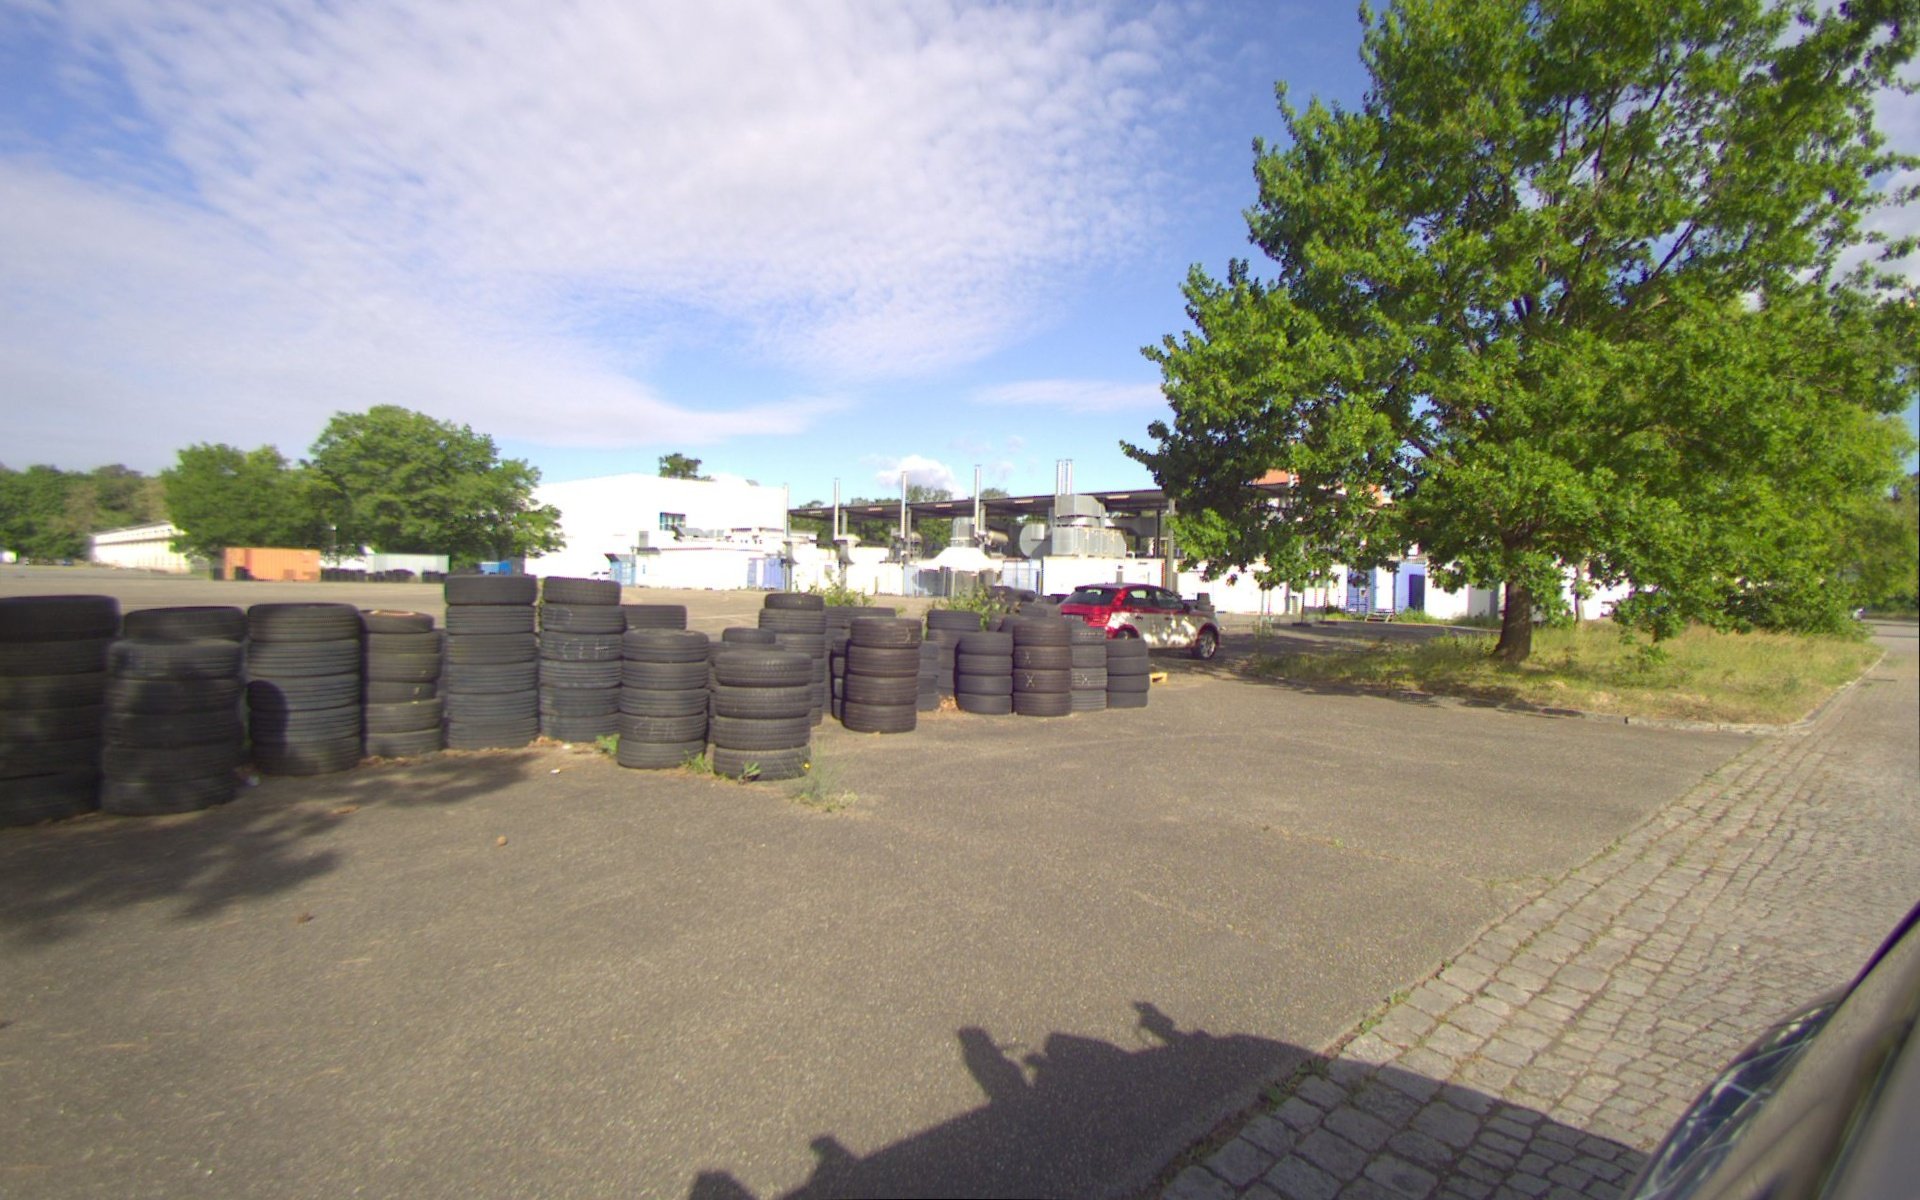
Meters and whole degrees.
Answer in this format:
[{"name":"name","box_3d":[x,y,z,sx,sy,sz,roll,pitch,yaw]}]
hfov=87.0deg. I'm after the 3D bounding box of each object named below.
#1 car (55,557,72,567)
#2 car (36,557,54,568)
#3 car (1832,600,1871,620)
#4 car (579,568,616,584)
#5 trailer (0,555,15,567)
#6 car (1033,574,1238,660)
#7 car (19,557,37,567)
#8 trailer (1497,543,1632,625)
[{"name":"car","box_3d":[-163.725,-6.917,184.796,3.985,1.772,1.970,2,1,42]},{"name":"car","box_3d":[-165.463,-6.825,182.987,3.985,1.831,2.007,2,1,42]},{"name":"car","box_3d":[69.330,0.752,78.724,1.990,1.388,3.945,2,1,38]},{"name":"car","box_3d":[-37.948,-2.498,105.924,4.532,1.584,1.846,2,1,43]},{"name":"trailer","box_3d":[-170.002,-6.983,180.350,3.987,2.039,2.032,2,1,44]},{"name":"car","box_3d":[3.445,0.301,19.559,3.928,1.482,1.727,1,1,-39]},{"name":"car","box_3d":[-166.884,-6.793,181.239,3.985,1.772,1.970,2,1,42]},{"name":"trailer","box_3d":[28.533,-0.702,47.526,9.736,3.514,2.920,0,1,-44]}]
